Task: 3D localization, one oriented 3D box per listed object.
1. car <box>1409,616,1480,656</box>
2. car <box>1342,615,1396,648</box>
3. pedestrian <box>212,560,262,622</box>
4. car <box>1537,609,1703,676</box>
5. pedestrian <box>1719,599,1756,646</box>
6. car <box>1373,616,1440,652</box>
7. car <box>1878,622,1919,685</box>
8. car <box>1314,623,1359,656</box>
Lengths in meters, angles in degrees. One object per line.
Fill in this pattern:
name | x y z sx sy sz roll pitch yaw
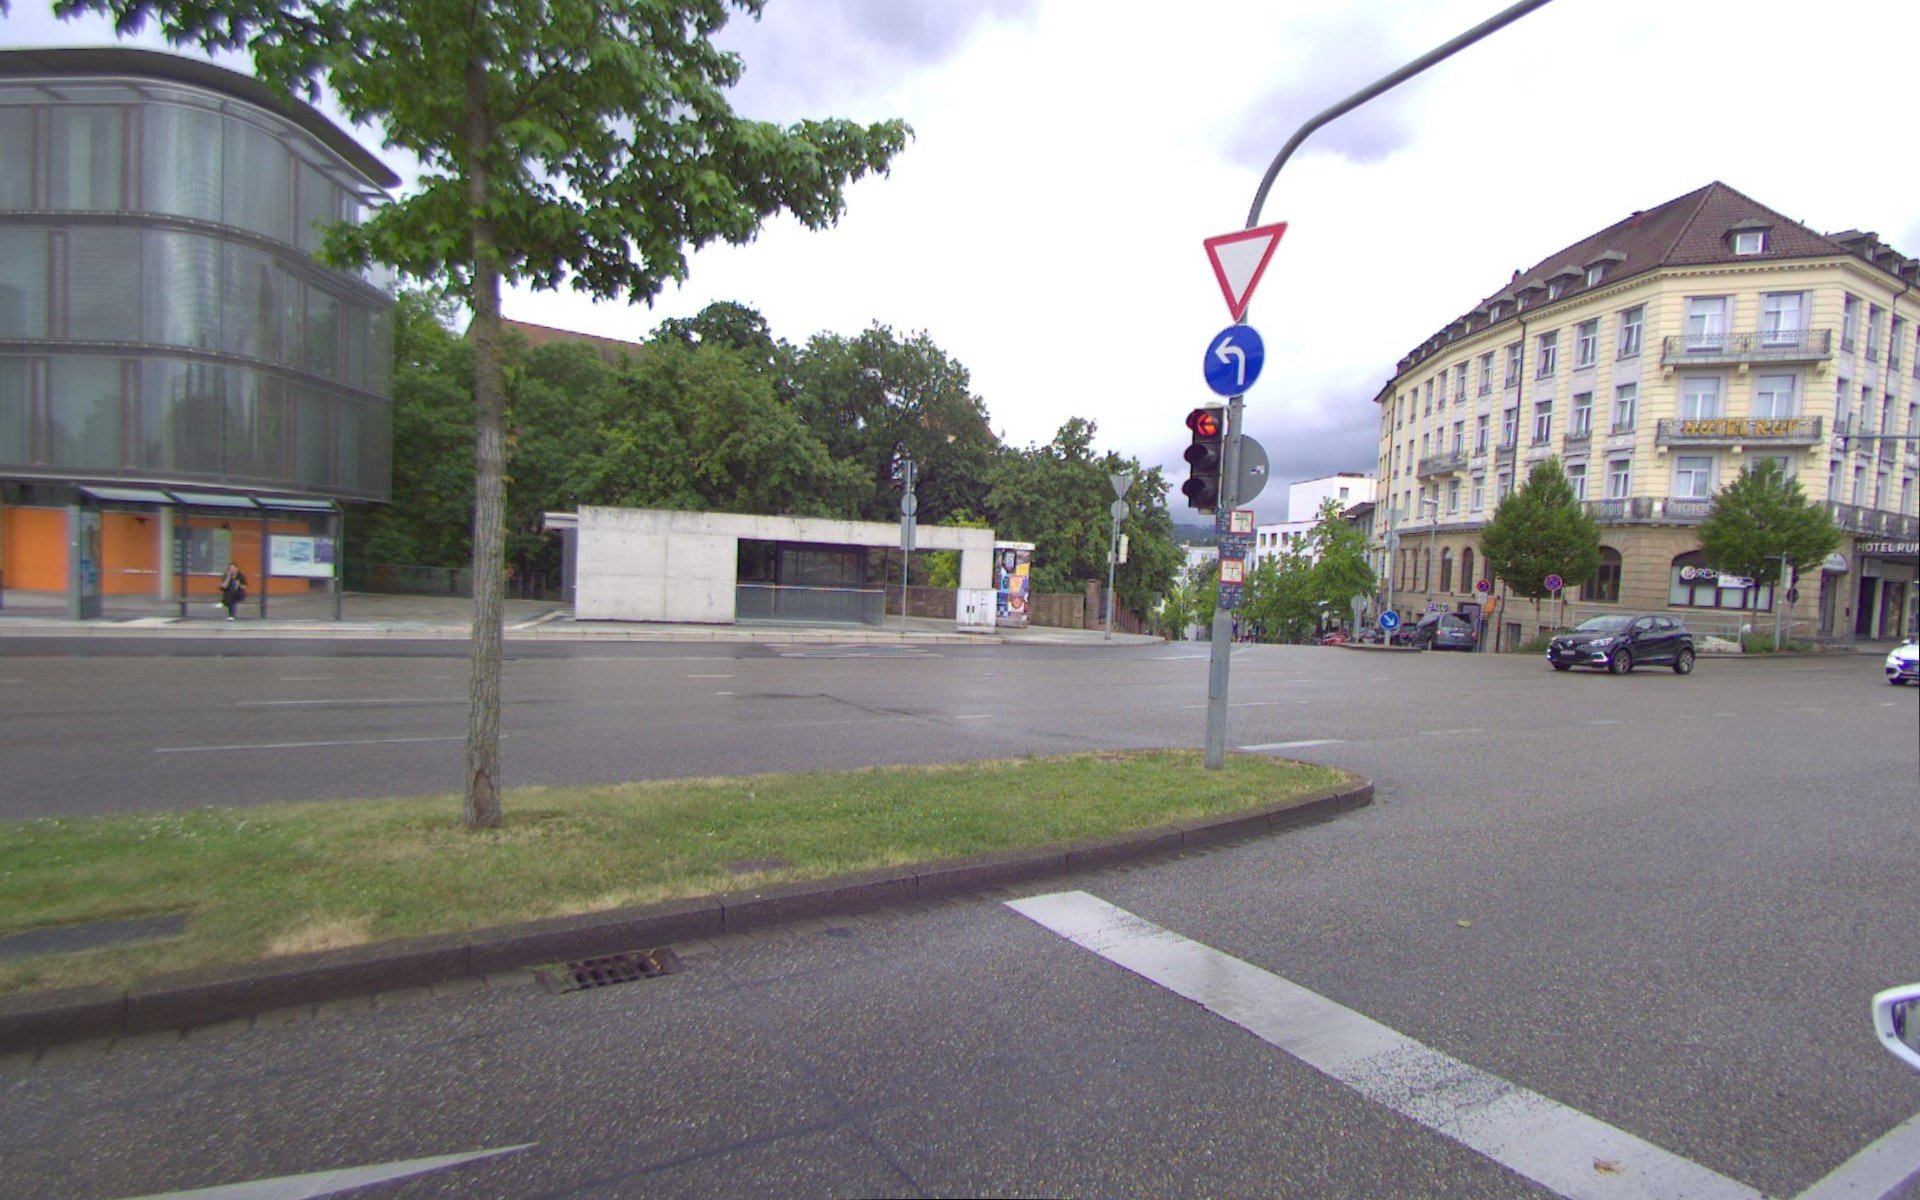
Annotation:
car | 21.728 1.571 45.182 1.764 1.589 4.002 2 1 9
car | 23.158 1.766 56.987 1.757 1.662 3.916 2 1 6
pedestrian | -16.093 -0.200 22.379 0.780 1.341 0.798 1 1 -28
car | 17.429 1.060 26.517 4.021 1.551 1.767 -1 2 -24
pedestrian | 32.354 0.918 41.818 1.010 1.903 0.859 1 1 -30
car | 22.902 1.712 51.688 1.959 1.662 4.002 2 0 6
car | 24.526 1.243 24.492 4.799 1.400 1.717 -1 1 -29
car | 23.582 2.469 63.041 1.741 1.836 3.624 2 1 7
